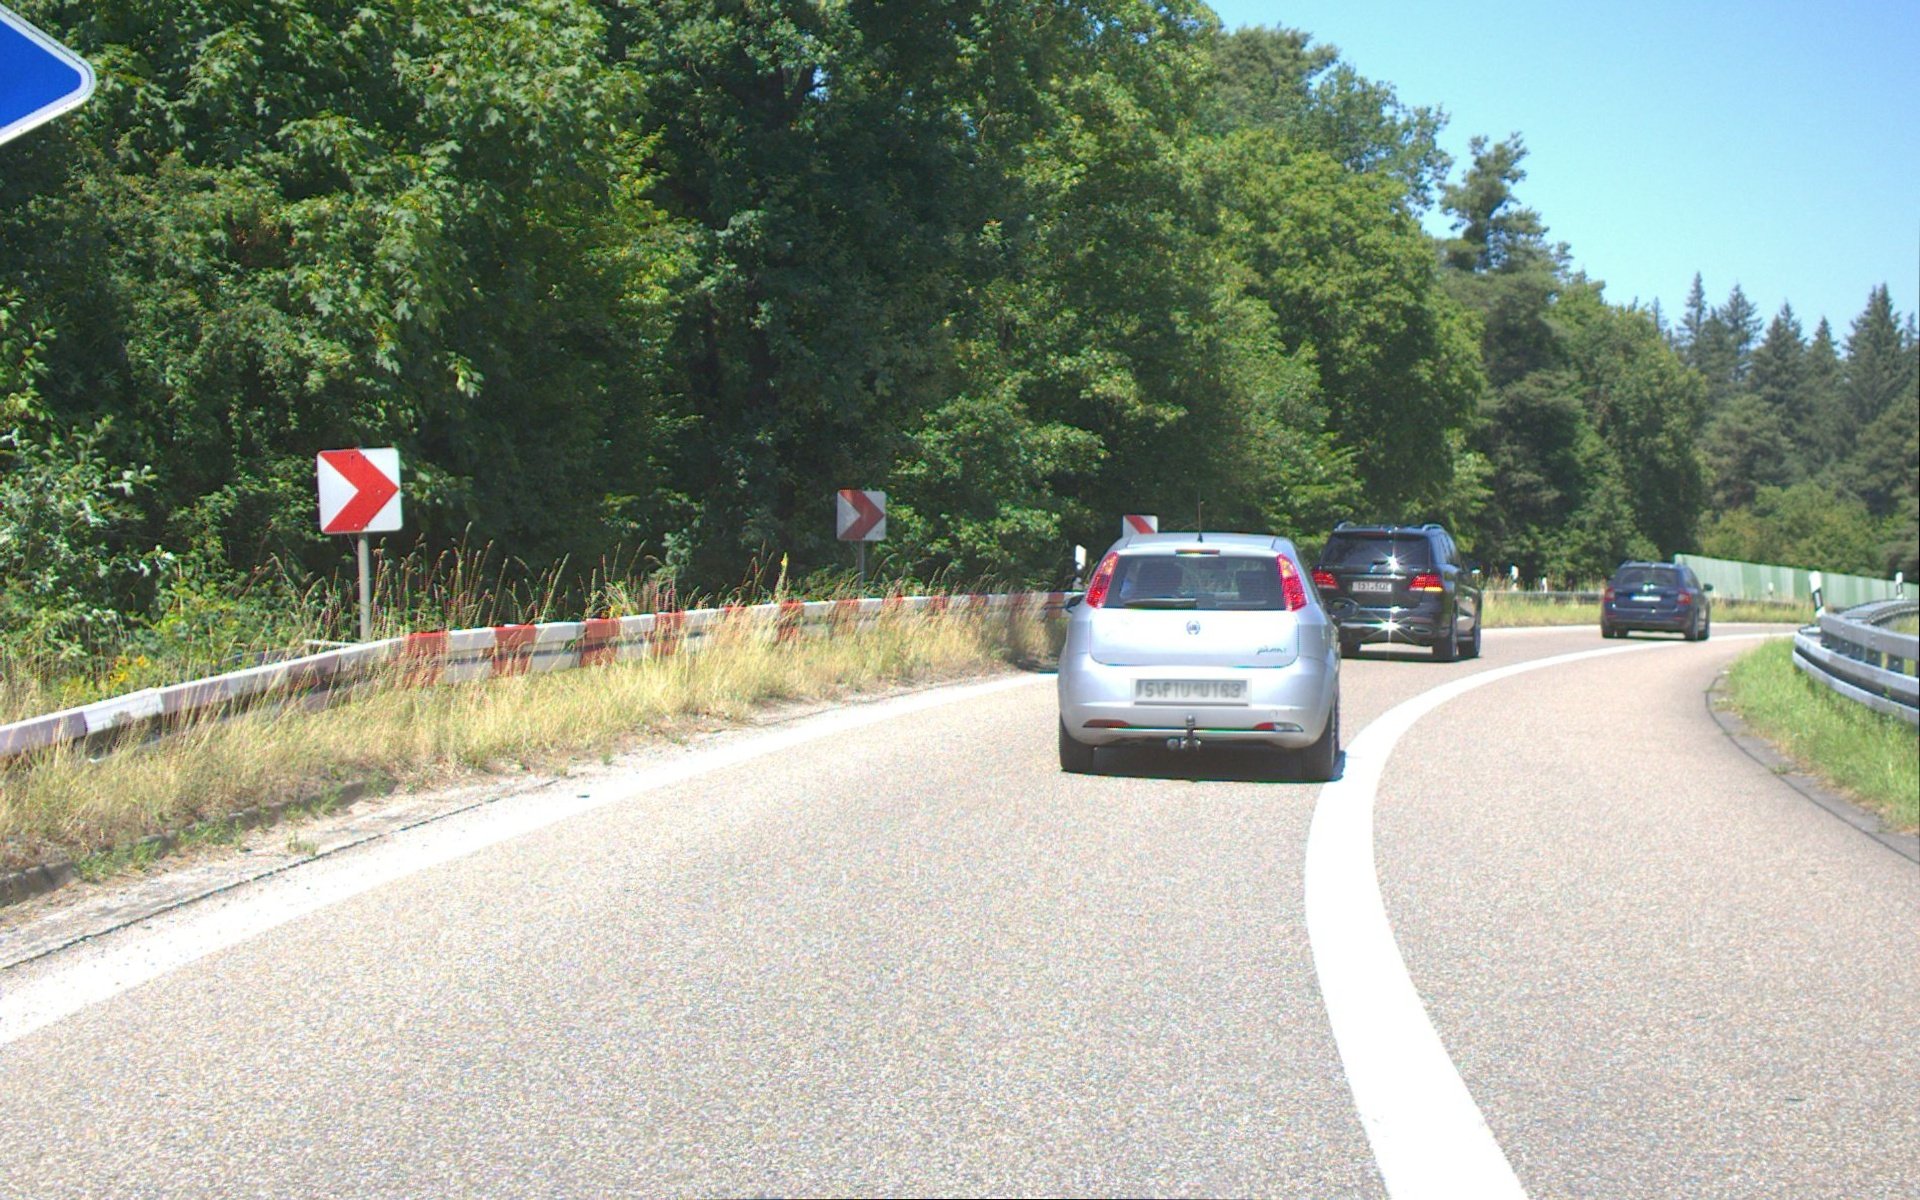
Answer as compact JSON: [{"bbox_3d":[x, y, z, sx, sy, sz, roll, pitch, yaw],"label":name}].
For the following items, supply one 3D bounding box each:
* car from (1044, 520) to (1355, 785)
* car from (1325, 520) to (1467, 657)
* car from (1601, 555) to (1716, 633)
[{"bbox_3d":[1.587,0.277,21.763,1.641,1.463,3.418,3,1,8],"label":"car"},{"bbox_3d":[5.752,-0.176,45.102,1.641,1.648,3.573,3,1,9],"label":"car"},{"bbox_3d":[13.126,-0.124,64.454,1.642,1.338,3.571,3,1,18],"label":"car"}]
